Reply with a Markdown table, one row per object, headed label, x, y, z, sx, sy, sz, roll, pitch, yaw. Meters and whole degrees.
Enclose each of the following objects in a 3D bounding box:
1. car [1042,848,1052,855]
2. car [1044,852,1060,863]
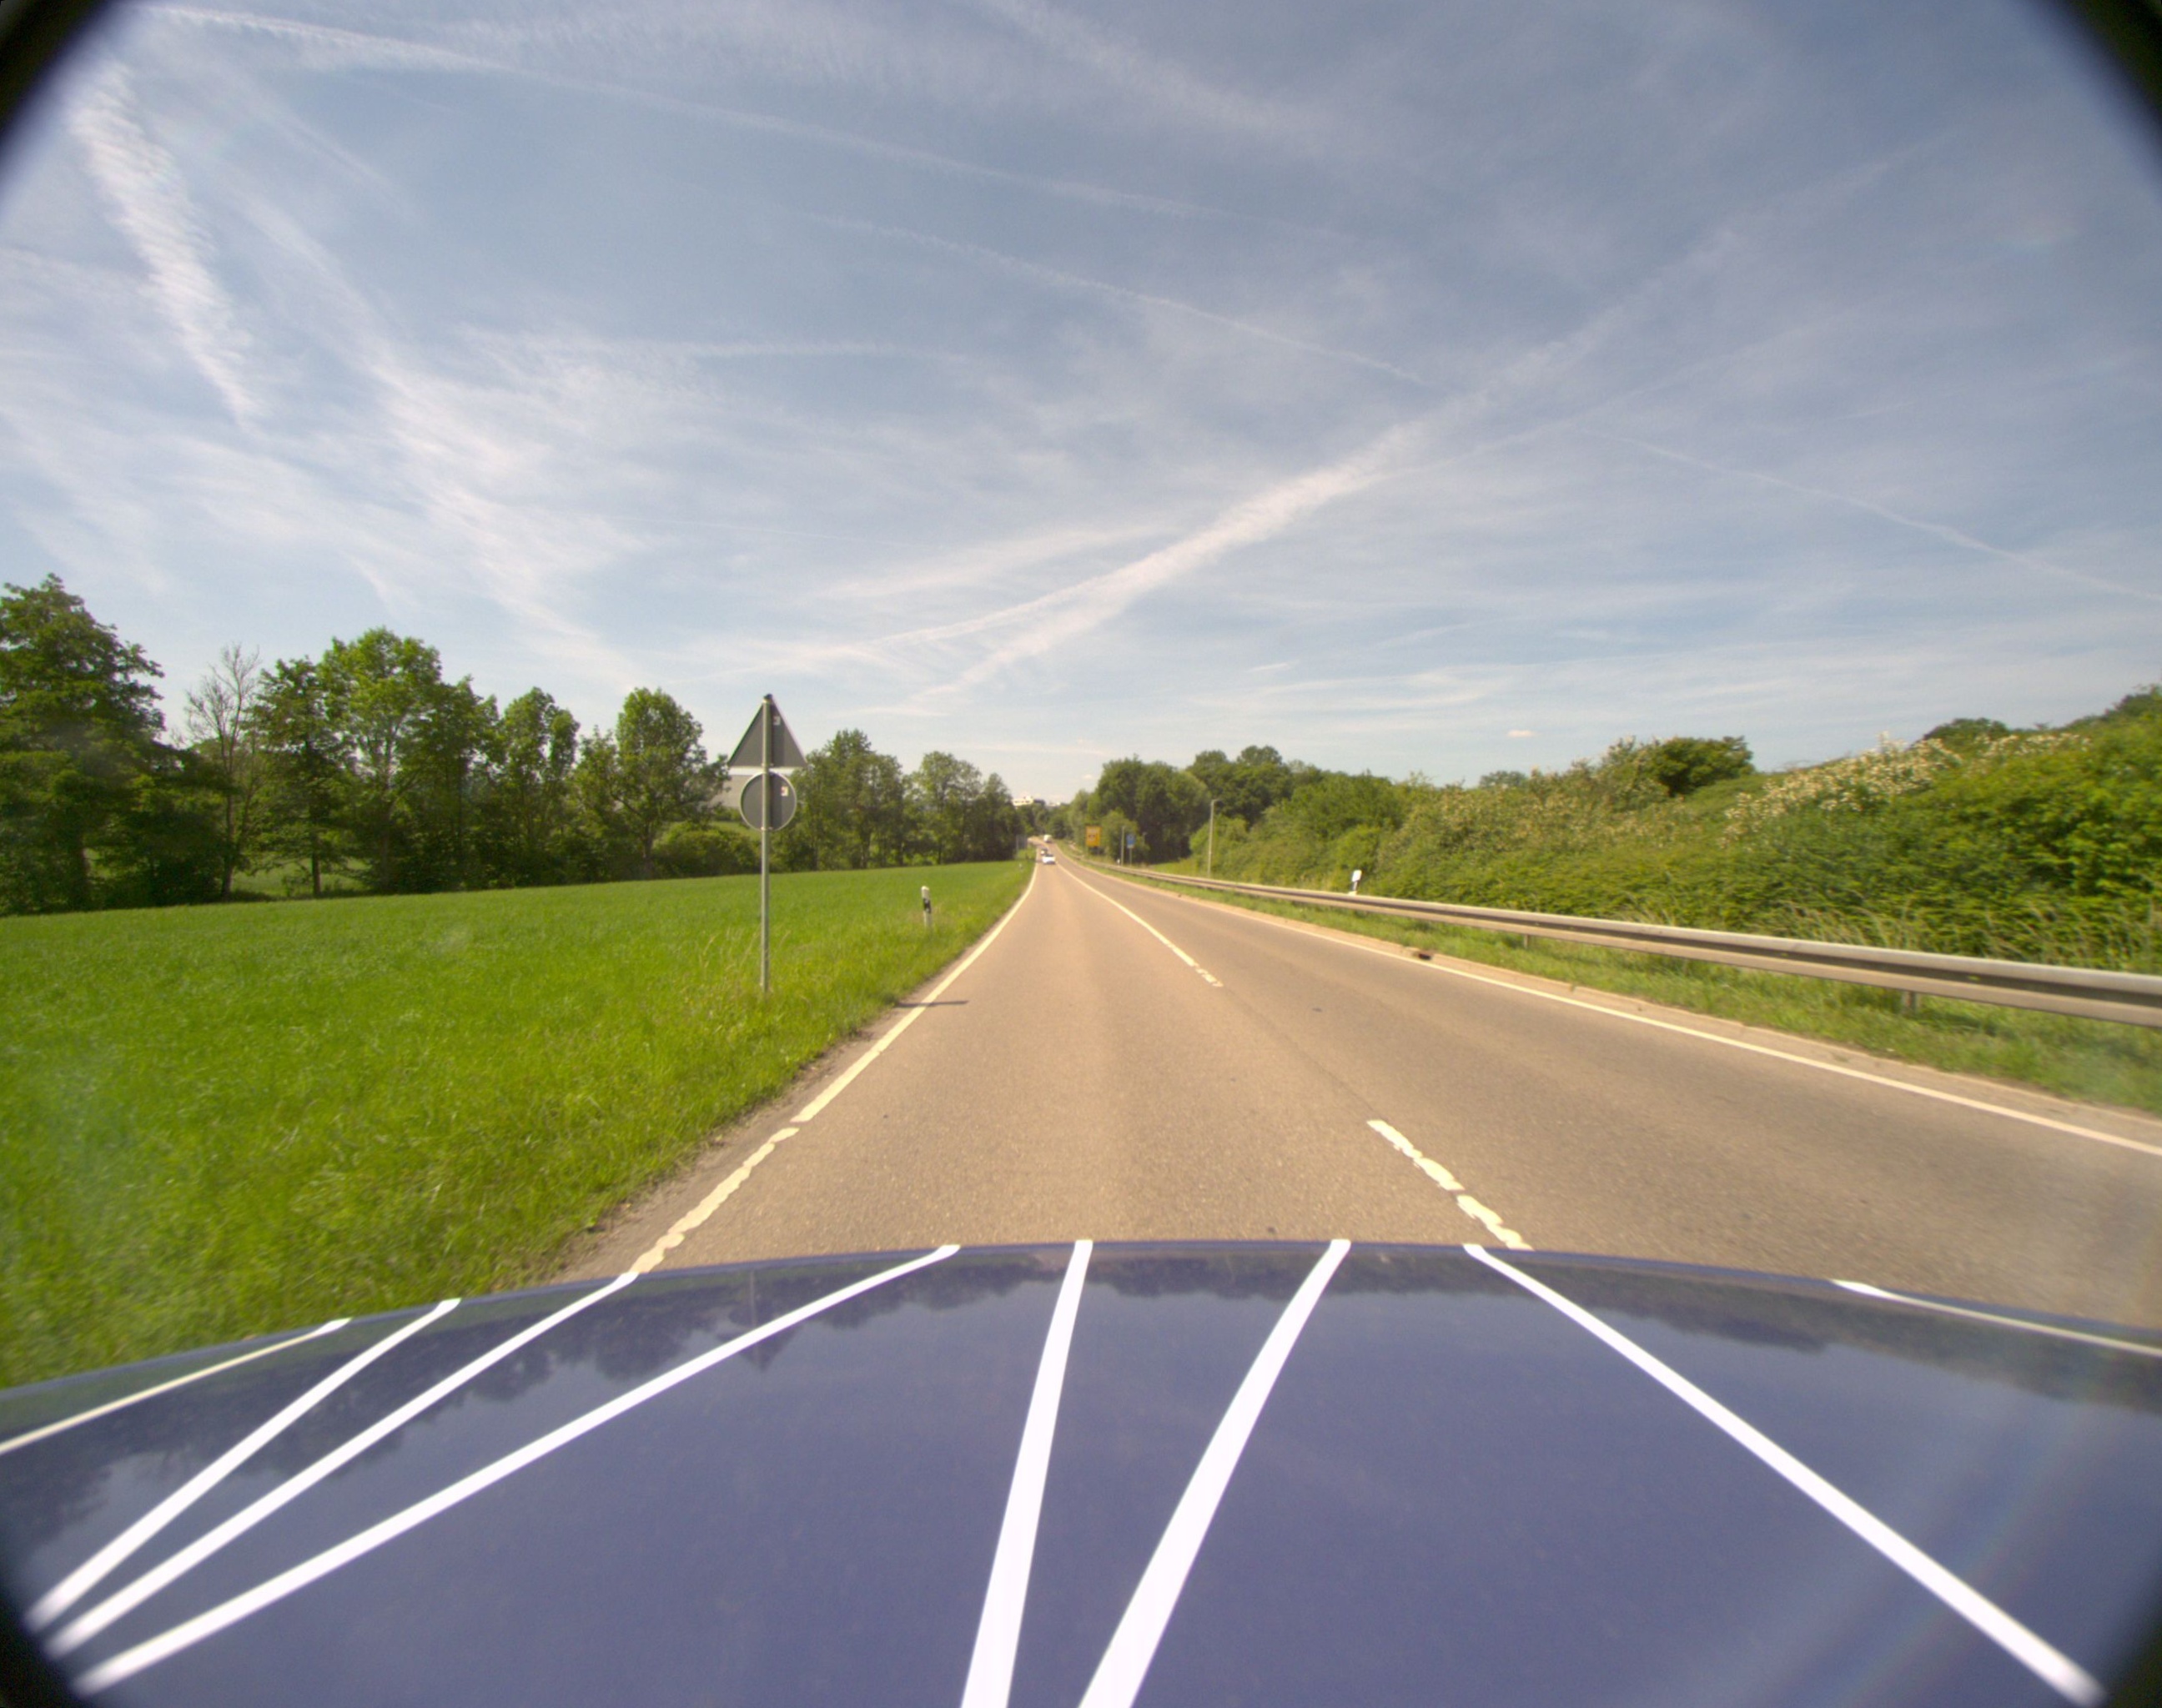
| label | x | y | z | sx | sy | sz | roll | pitch | yaw |
| --- | --- | --- | --- | --- | --- | --- | --- | --- | --- |
| car | -7.592 | -0.541 | 167.894 | 1.999 | 1.575 | 3.998 | -1 | 0 | -6 |
| car | -4.242 | 0.513 | 111.093 | 1.998 | 1.576 | 4.000 | -1 | 0 | 1 |
